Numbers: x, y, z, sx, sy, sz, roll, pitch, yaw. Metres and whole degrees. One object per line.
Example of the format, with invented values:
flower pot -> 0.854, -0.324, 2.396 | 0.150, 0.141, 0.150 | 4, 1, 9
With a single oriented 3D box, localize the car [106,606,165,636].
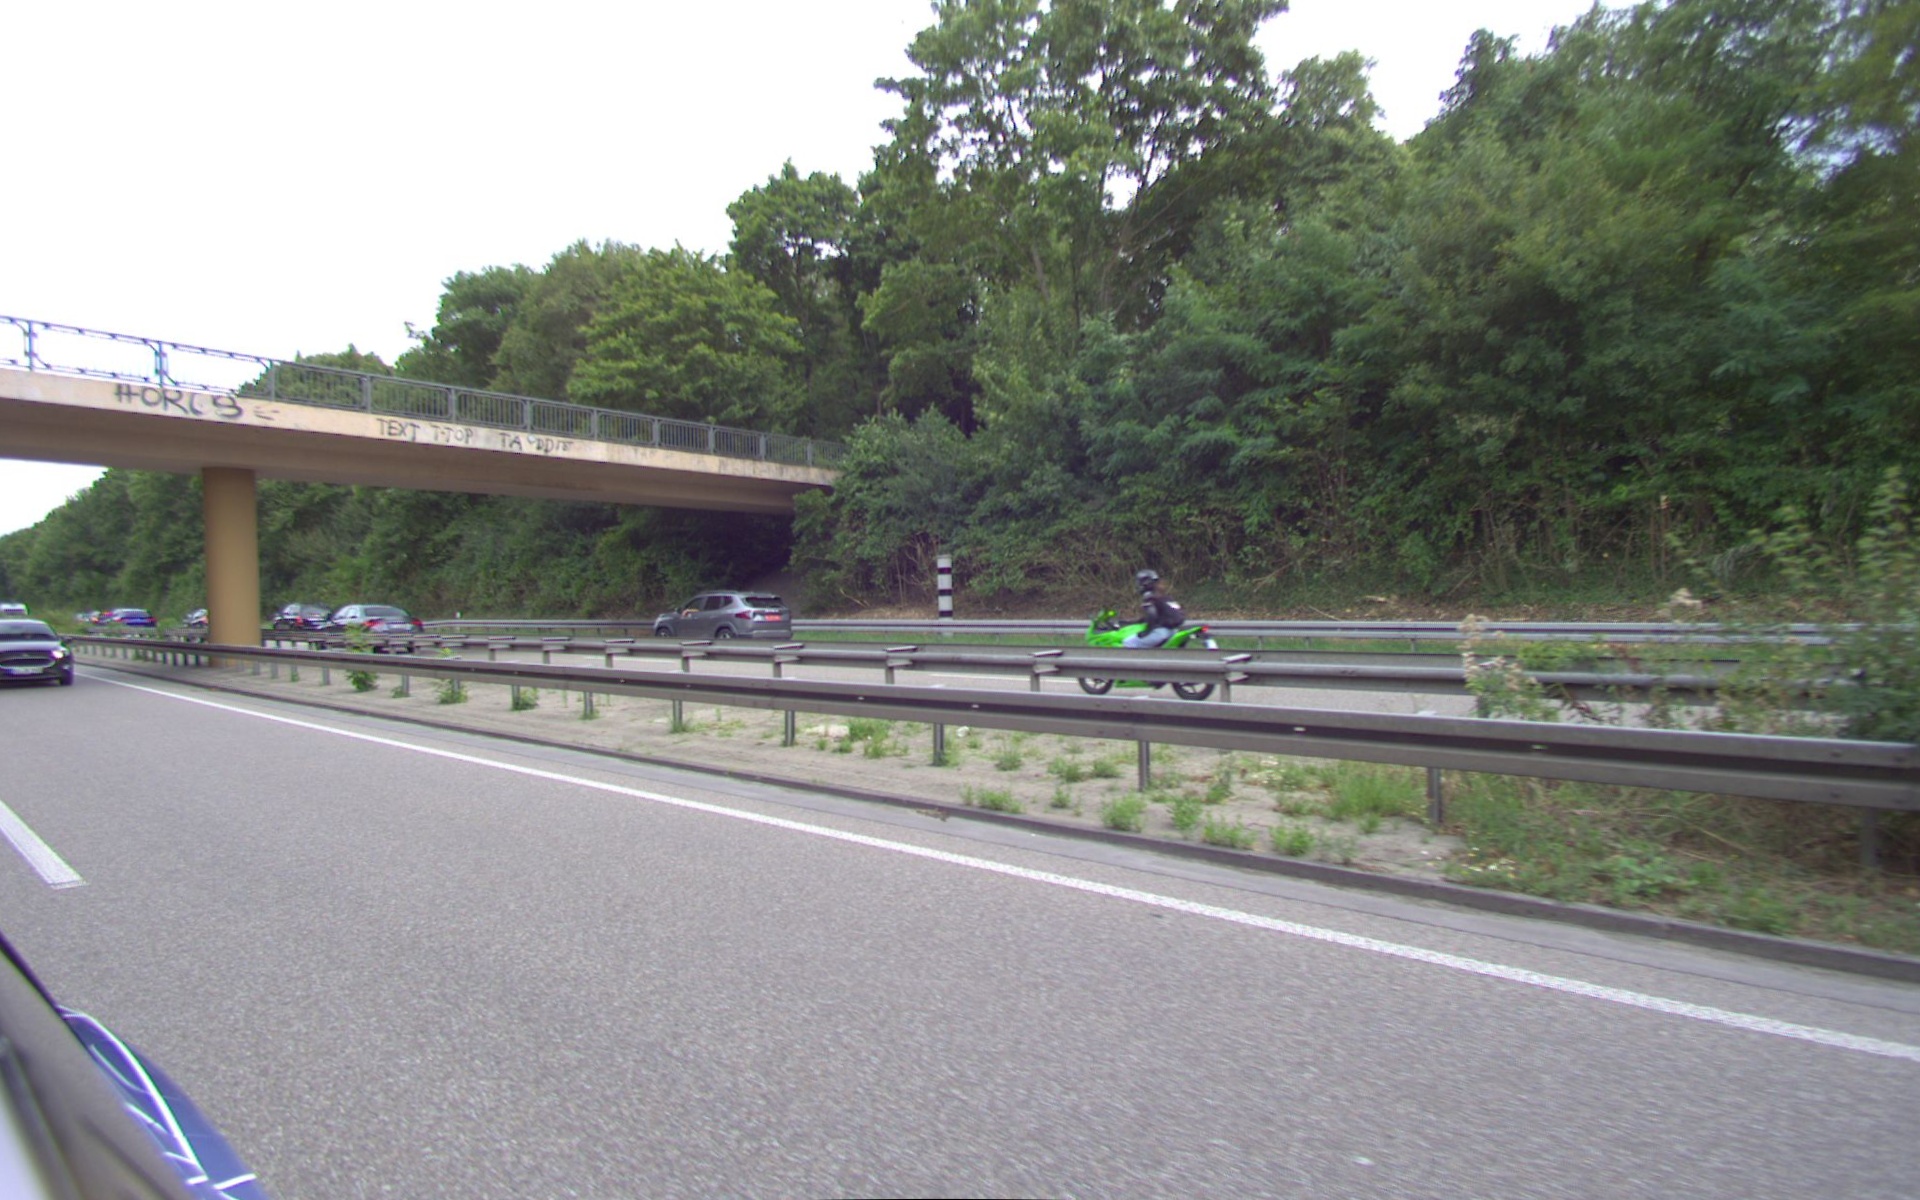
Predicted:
car -> -46.501, 1.147, 57.041 | 4.638, 1.664, 1.874 | 0, 0, 42

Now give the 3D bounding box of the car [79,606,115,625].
car -> -78.003, 1.379, 91.489 | 4.638, 1.664, 1.874 | 0, 0, 42

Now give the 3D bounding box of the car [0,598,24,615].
car -> -96.119, 0.684, 102.015 | 4.638, 1.664, 2.164 | 0, 0, 42

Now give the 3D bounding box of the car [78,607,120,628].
car -> -68.282, 1.366, 80.223 | 4.638, 1.664, 1.874 | 0, 0, 42

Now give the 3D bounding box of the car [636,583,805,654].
car -> -6.191, 0.434, 25.868 | 4.638, 1.664, 1.874 | 0, 0, 42

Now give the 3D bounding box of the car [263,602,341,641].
car -> -30.526, 0.965, 46.866 | 4.638, 1.699, 1.874 | 0, 0, 42

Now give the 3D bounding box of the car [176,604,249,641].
car -> -31.188, 0.910, 42.191 | 3.988, 1.474, 1.671 | 0, 0, 42

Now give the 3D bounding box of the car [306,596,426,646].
car -> -17.796, 0.596, 30.228 | 4.935, 1.391, 1.671 | 0, 0, 42

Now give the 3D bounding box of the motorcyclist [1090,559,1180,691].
motorcyclist -> 2.160, 0.290, 12.472 | 0.846, 1.560, 0.673 | -1, 1, 41

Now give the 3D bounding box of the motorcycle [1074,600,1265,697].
motorcycle -> 2.481, 0.545, 12.197 | 2.195, 1.075, 0.694 | 0, 0, 41

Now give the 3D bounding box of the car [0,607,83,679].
car -> -21.239, 0.901, 22.672 | 4.638, 1.469, 1.807 | 0, 0, 41
